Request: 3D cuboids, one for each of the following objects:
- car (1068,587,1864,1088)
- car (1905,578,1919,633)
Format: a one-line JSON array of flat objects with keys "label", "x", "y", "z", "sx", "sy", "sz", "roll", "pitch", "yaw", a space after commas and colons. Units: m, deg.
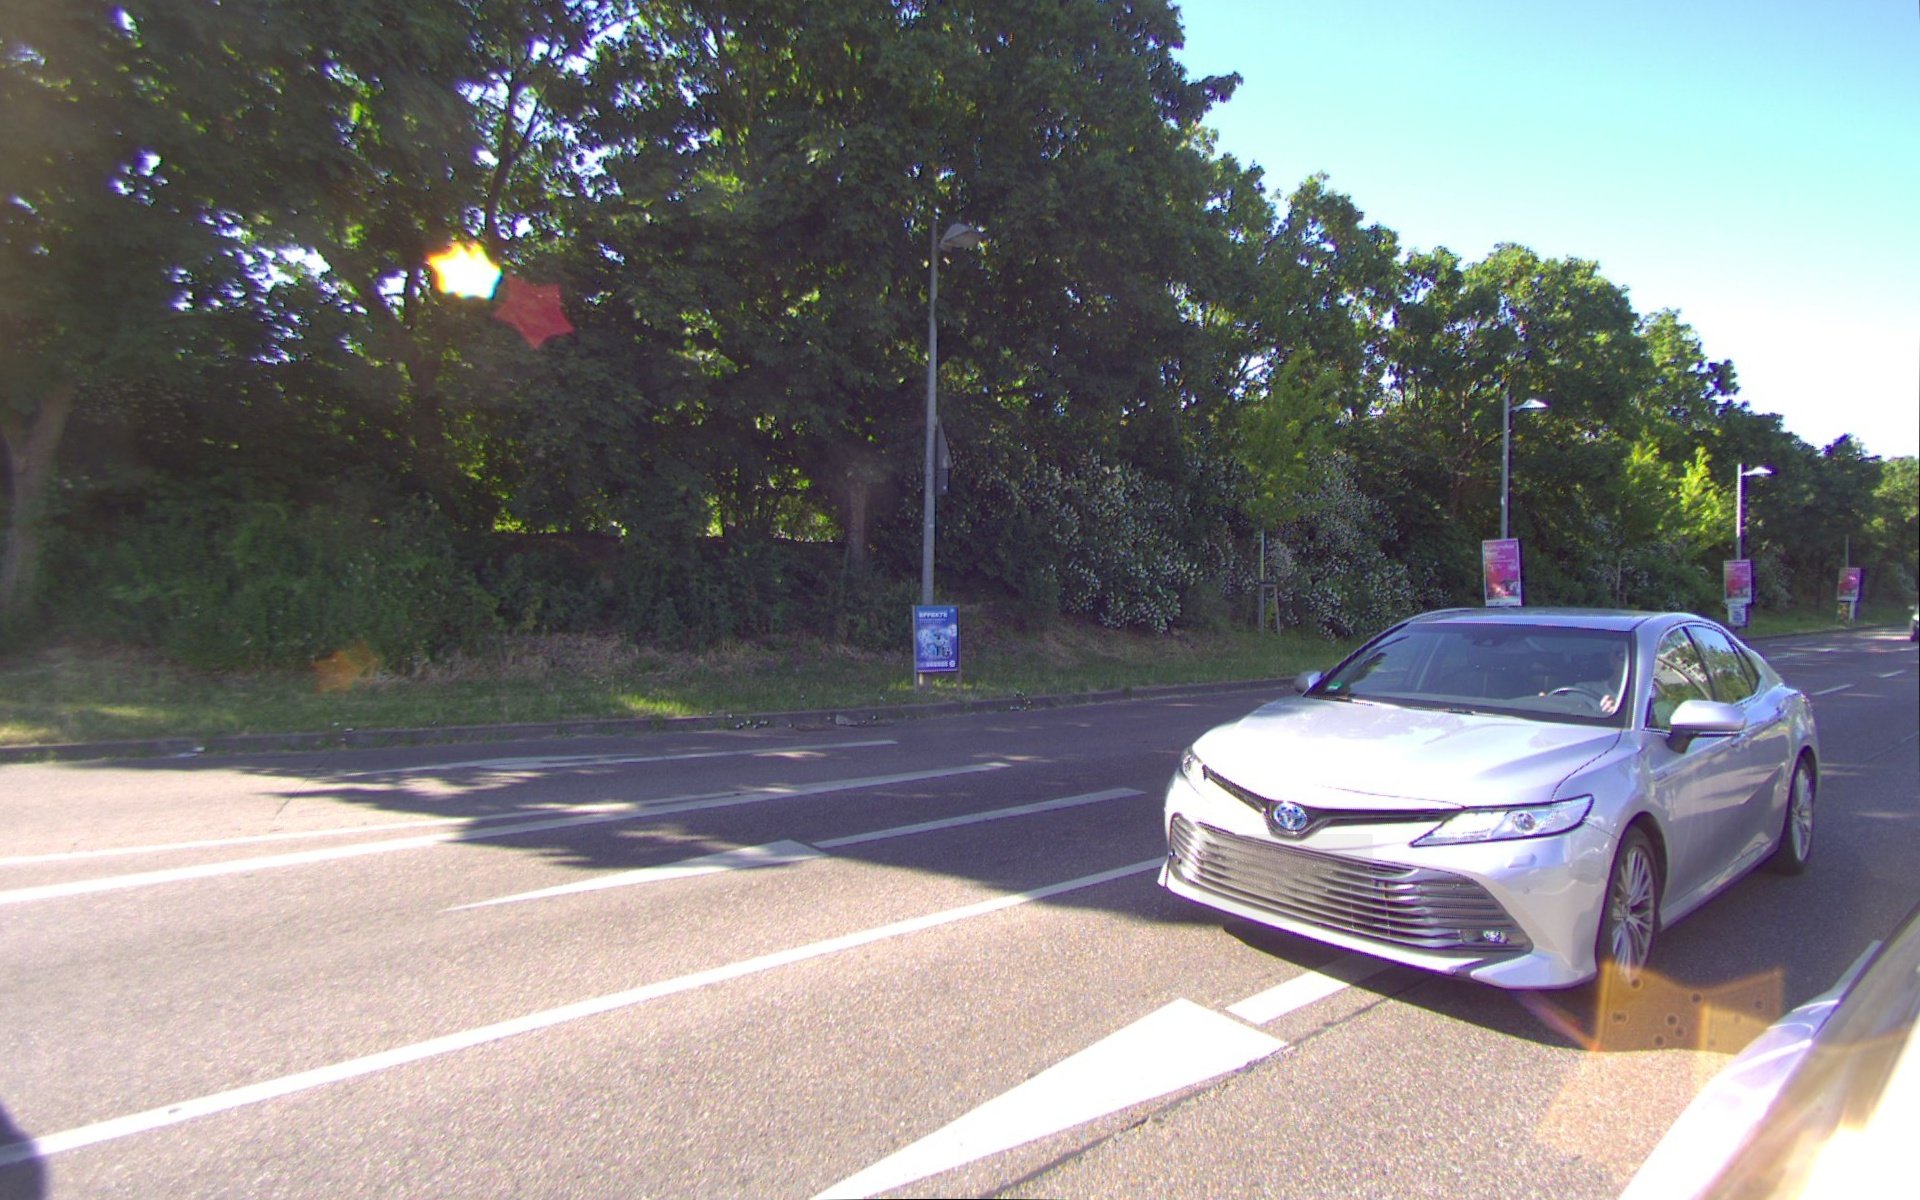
[{"label": "car", "x": 2.947, "y": 0.700, "z": 5.351, "sx": 4.664, "sy": 1.477, "sz": 2.069, "roll": 0, "pitch": 2, "yaw": -40}, {"label": "car", "x": 35.814, "y": 0.194, "z": 36.451, "sx": 5.056, "sy": 1.917, "sz": 1.998, "roll": 0, "pitch": 1, "yaw": -40}]
